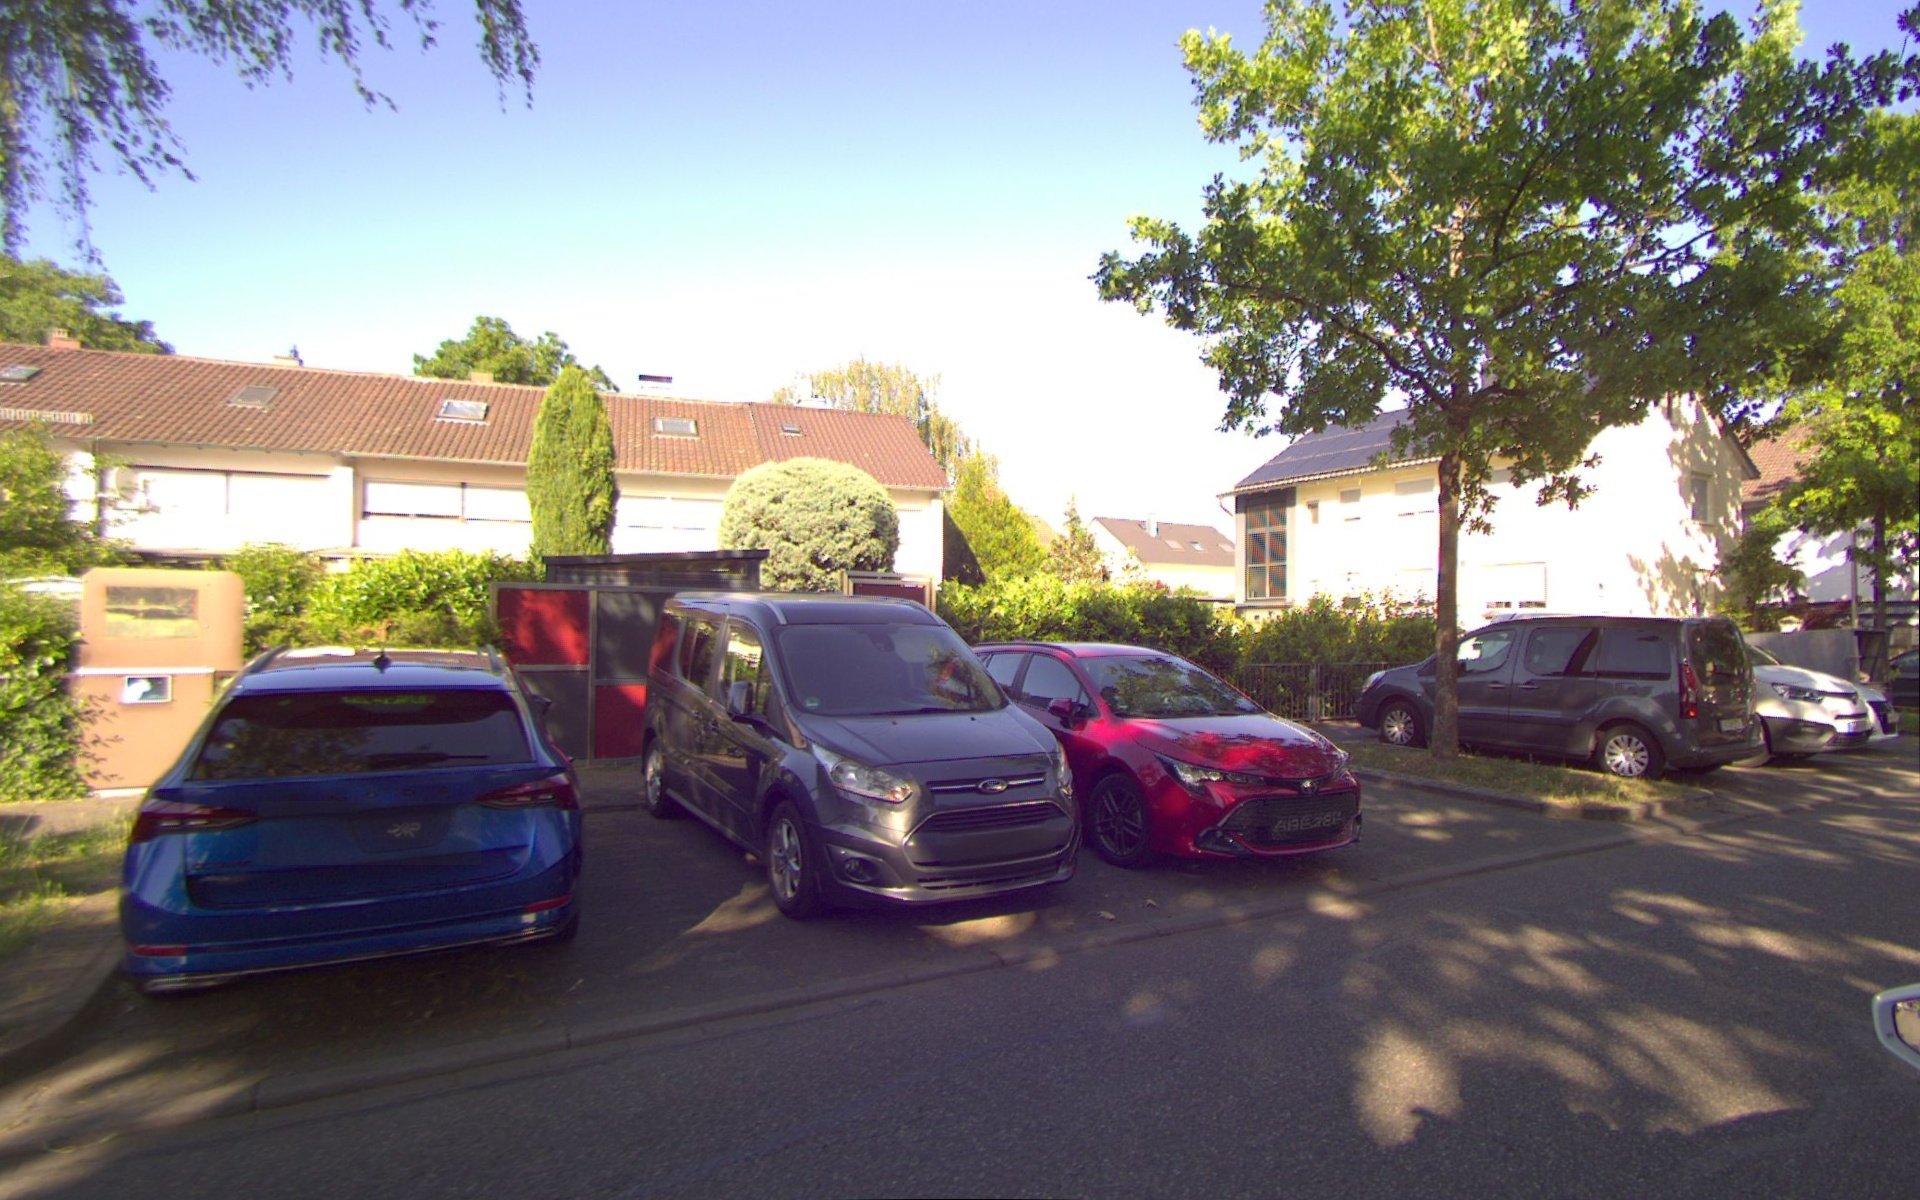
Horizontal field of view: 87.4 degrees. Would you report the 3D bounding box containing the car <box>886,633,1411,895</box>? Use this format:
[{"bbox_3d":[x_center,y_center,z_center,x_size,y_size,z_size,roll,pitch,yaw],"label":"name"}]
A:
[{"bbox_3d":[1.178,1.046,8.294,1.815,1.519,4.455,1,-2,-30],"label":"car"}]

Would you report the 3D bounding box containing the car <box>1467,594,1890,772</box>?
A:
[{"bbox_3d":[9.381,1.018,13.471,1.979,1.969,4.211,3,-3,-33],"label":"car"}]

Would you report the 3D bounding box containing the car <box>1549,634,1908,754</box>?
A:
[{"bbox_3d":[11.312,1.290,15.088,1.672,1.536,3.966,2,-2,-31],"label":"car"}]

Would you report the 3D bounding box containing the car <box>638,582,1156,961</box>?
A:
[{"bbox_3d":[-0.848,0.816,7.218,1.775,1.792,4.649,1,0,-31],"label":"car"}]

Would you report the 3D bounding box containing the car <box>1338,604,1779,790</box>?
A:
[{"bbox_3d":[7.058,0.996,12.304,1.947,1.793,4.213,1,0,-33],"label":"car"}]

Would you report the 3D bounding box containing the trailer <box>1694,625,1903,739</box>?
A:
[{"bbox_3d":[13.584,1.263,16.360,1.455,1.696,2.228,1,-2,-27],"label":"trailer"}]

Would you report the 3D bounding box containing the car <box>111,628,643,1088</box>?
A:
[{"bbox_3d":[-3.076,0.936,5.656,1.702,1.443,4.254,1,-1,-28],"label":"car"}]

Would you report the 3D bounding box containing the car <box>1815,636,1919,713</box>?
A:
[{"bbox_3d":[19.932,1.507,19.970,1.672,1.491,4.188,2,-1,-31],"label":"car"}]
